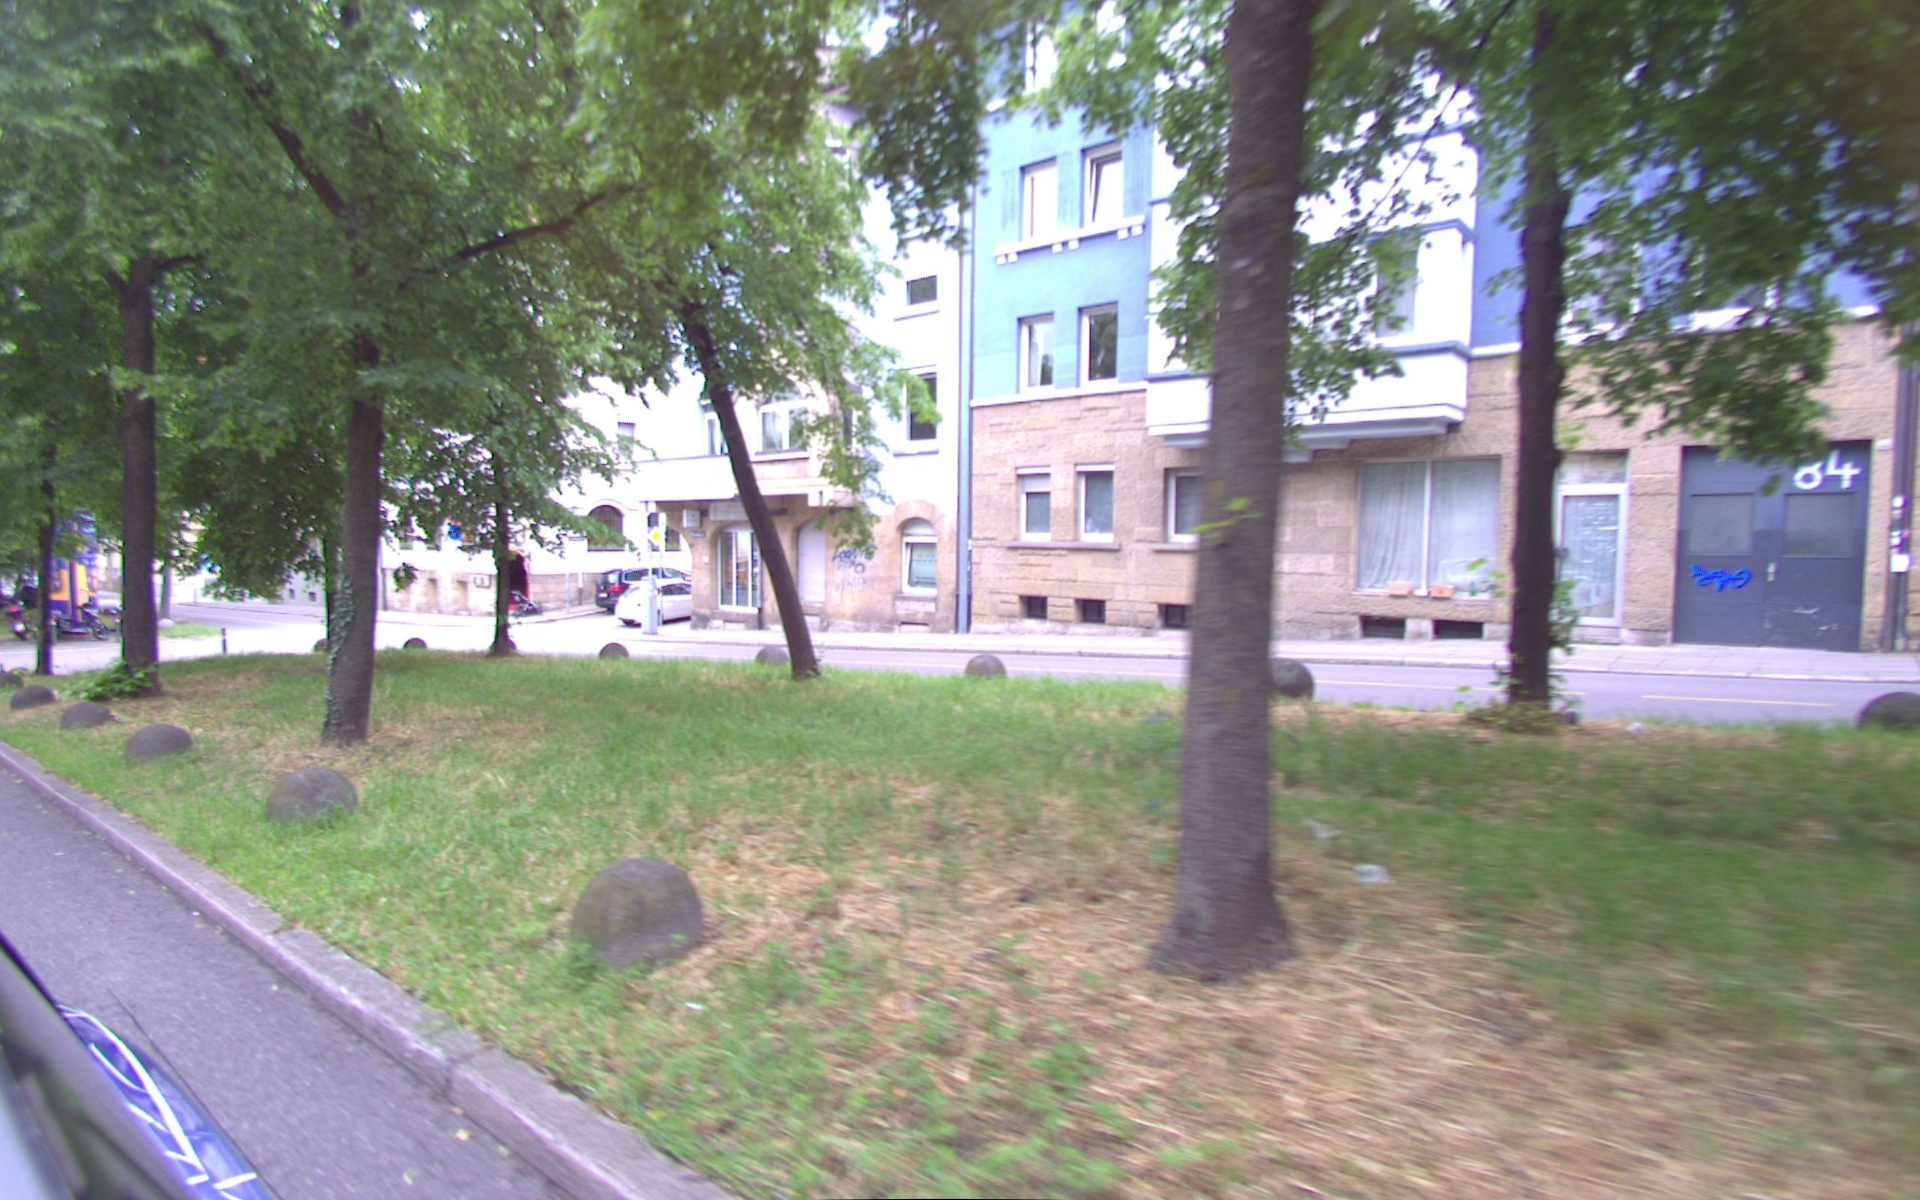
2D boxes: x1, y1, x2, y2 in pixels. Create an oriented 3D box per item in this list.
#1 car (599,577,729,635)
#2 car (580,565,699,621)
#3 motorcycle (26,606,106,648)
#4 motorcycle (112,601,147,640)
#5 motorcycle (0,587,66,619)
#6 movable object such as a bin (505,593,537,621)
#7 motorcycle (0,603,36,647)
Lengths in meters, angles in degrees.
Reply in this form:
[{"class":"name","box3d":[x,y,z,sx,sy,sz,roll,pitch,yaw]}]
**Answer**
[{"class":"car","box3d":[-10.249,0.152,35.291,1.869,1.480,3.961,3,8,38]},{"class":"car","box3d":[-12.495,-0.314,39.663,1.871,1.711,3.958,1,8,41]},{"class":"motorcycle","box3d":[-26.562,0.783,30.077,0.551,1.104,1.712,3,5,44]},{"class":"motorcycle","box3d":[-26.618,0.648,32.421,0.740,1.081,1.854,-3,5,-42]},{"class":"motorcycle","box3d":[-46.856,0.135,51.176,0.963,1.494,2.393,4,3,41]},{"class":"movable object such as a bin","box3d":[-16.921,0.266,39.050,0.667,1.000,0.877,1,5,39]},{"class":"motorcycle","box3d":[-28.448,0.729,30.458,0.876,1.104,2.485,-3,5,-42]}]
